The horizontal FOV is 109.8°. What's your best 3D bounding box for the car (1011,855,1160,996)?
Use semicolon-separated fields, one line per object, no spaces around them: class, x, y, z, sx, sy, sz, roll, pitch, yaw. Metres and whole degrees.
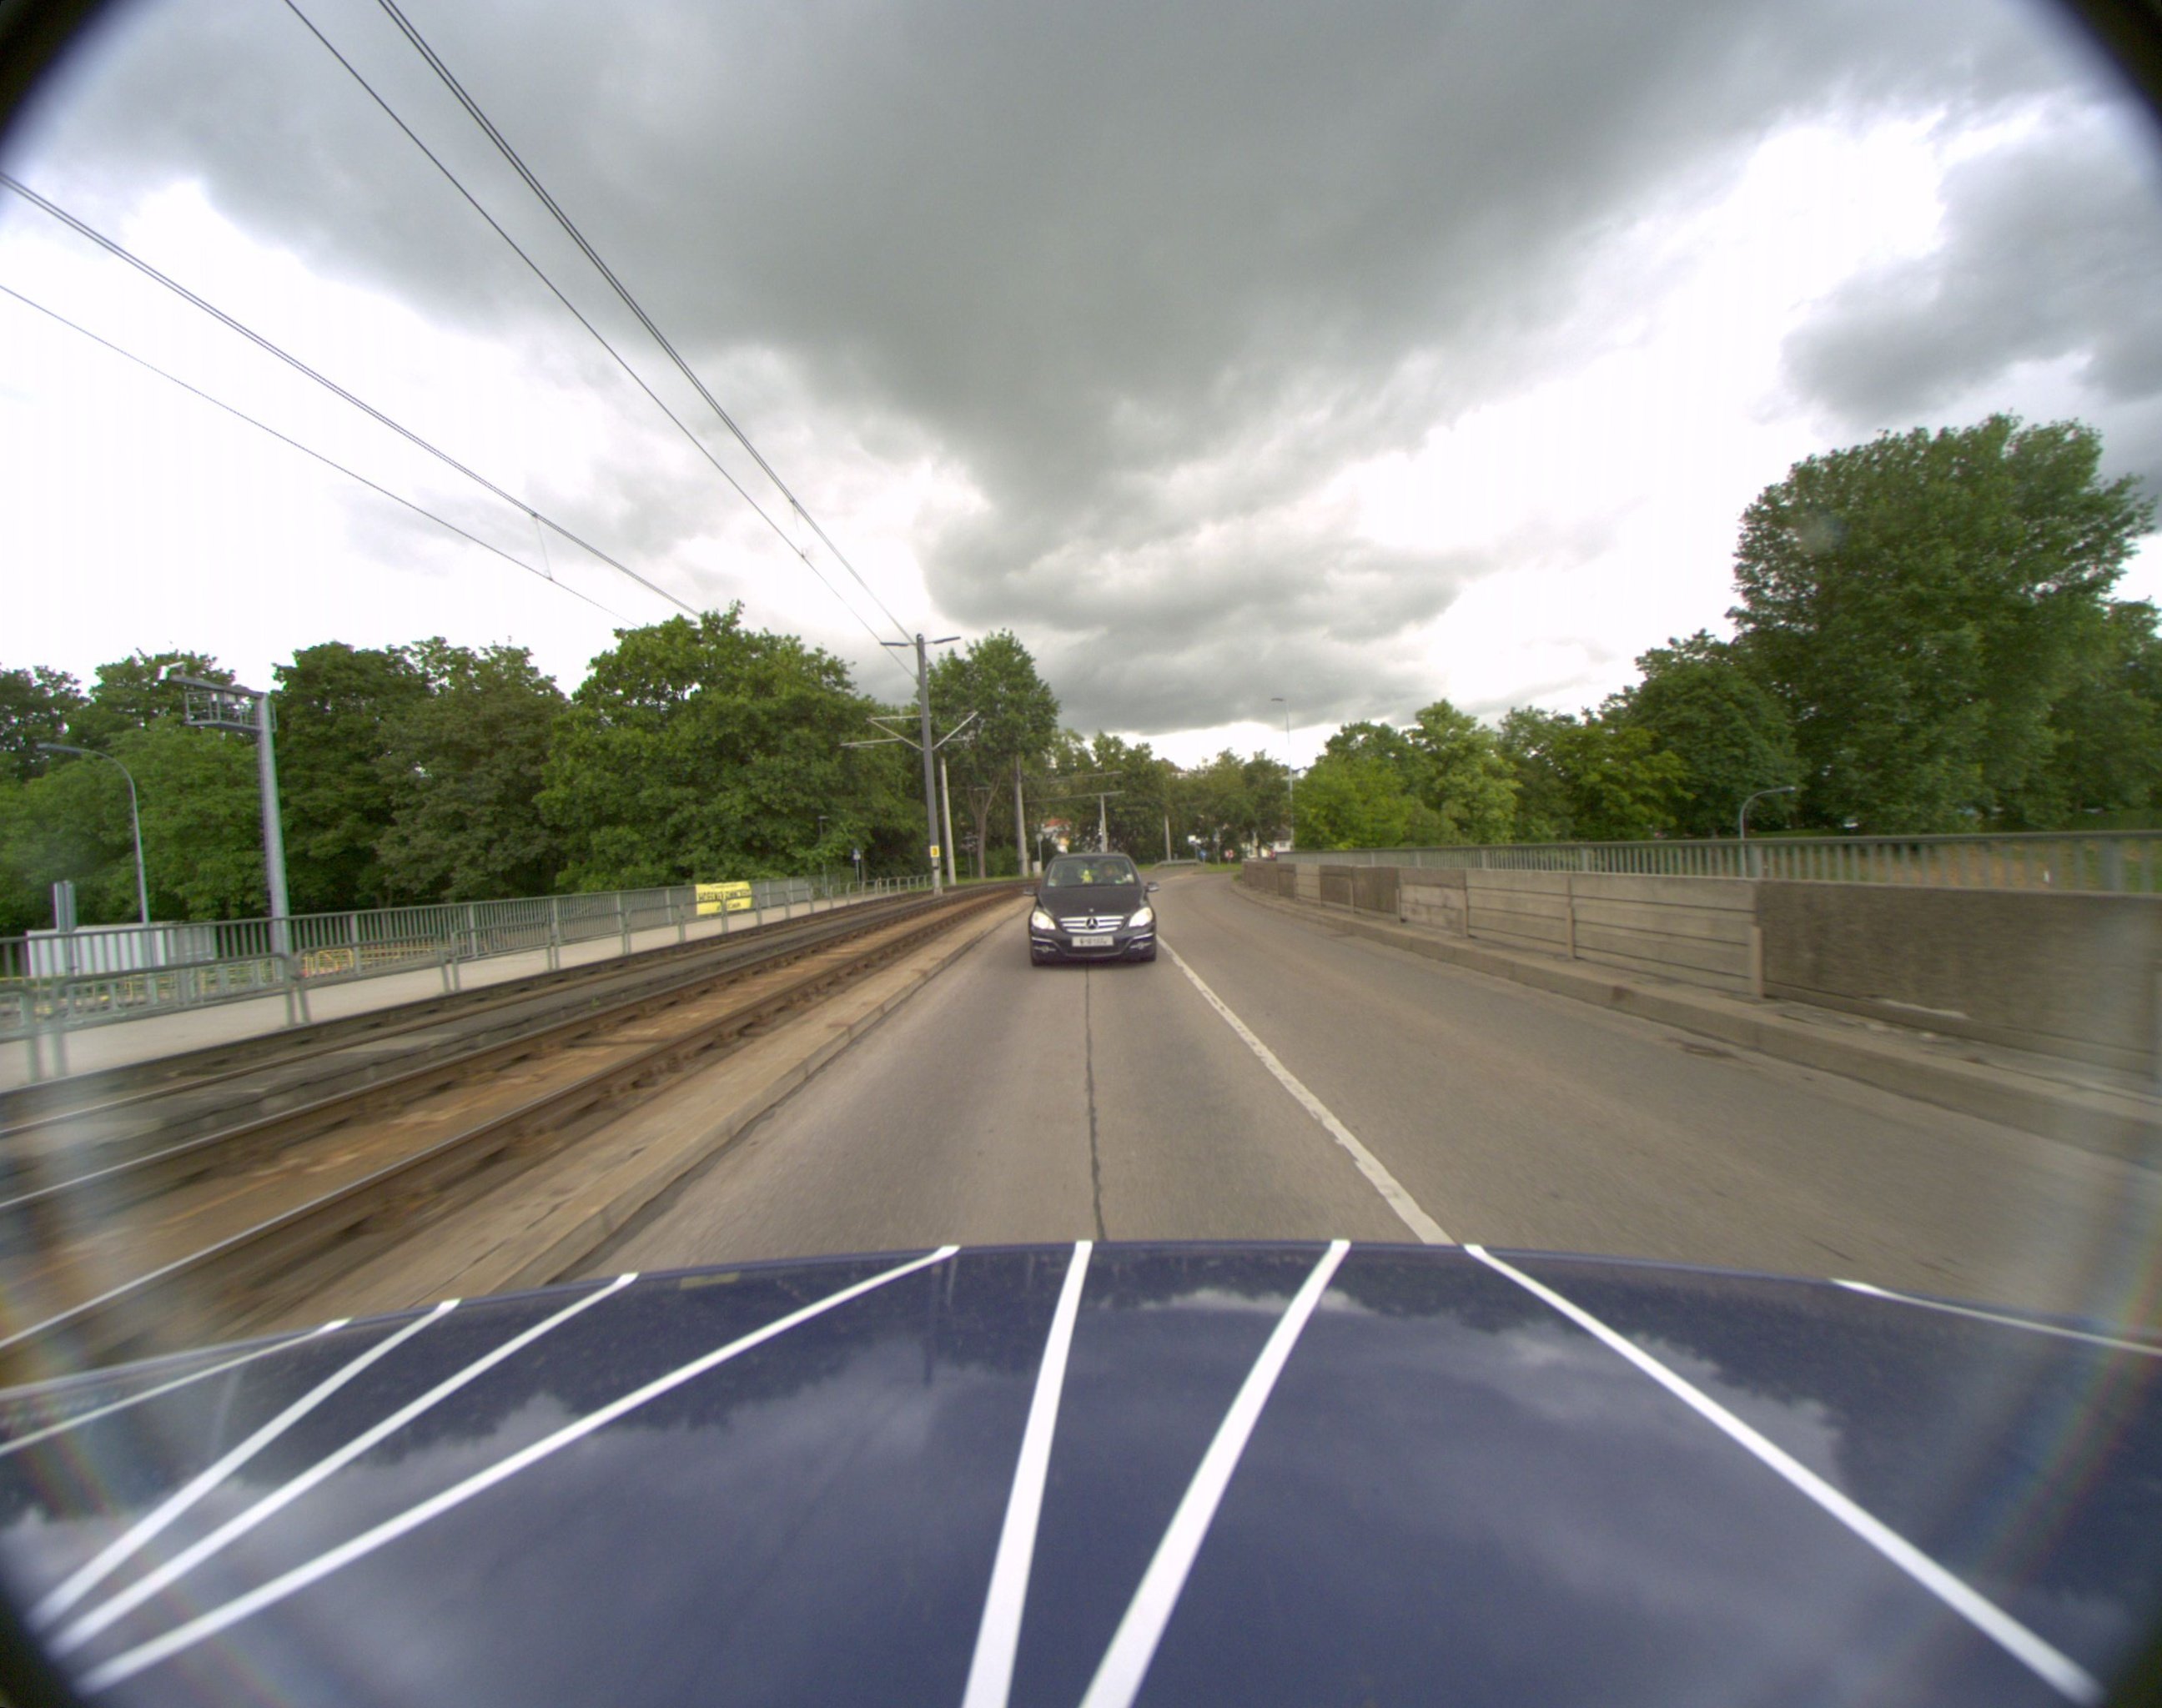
car;0.240;0.860;11.192;1.711;1.574;4.443;-2;0;5
